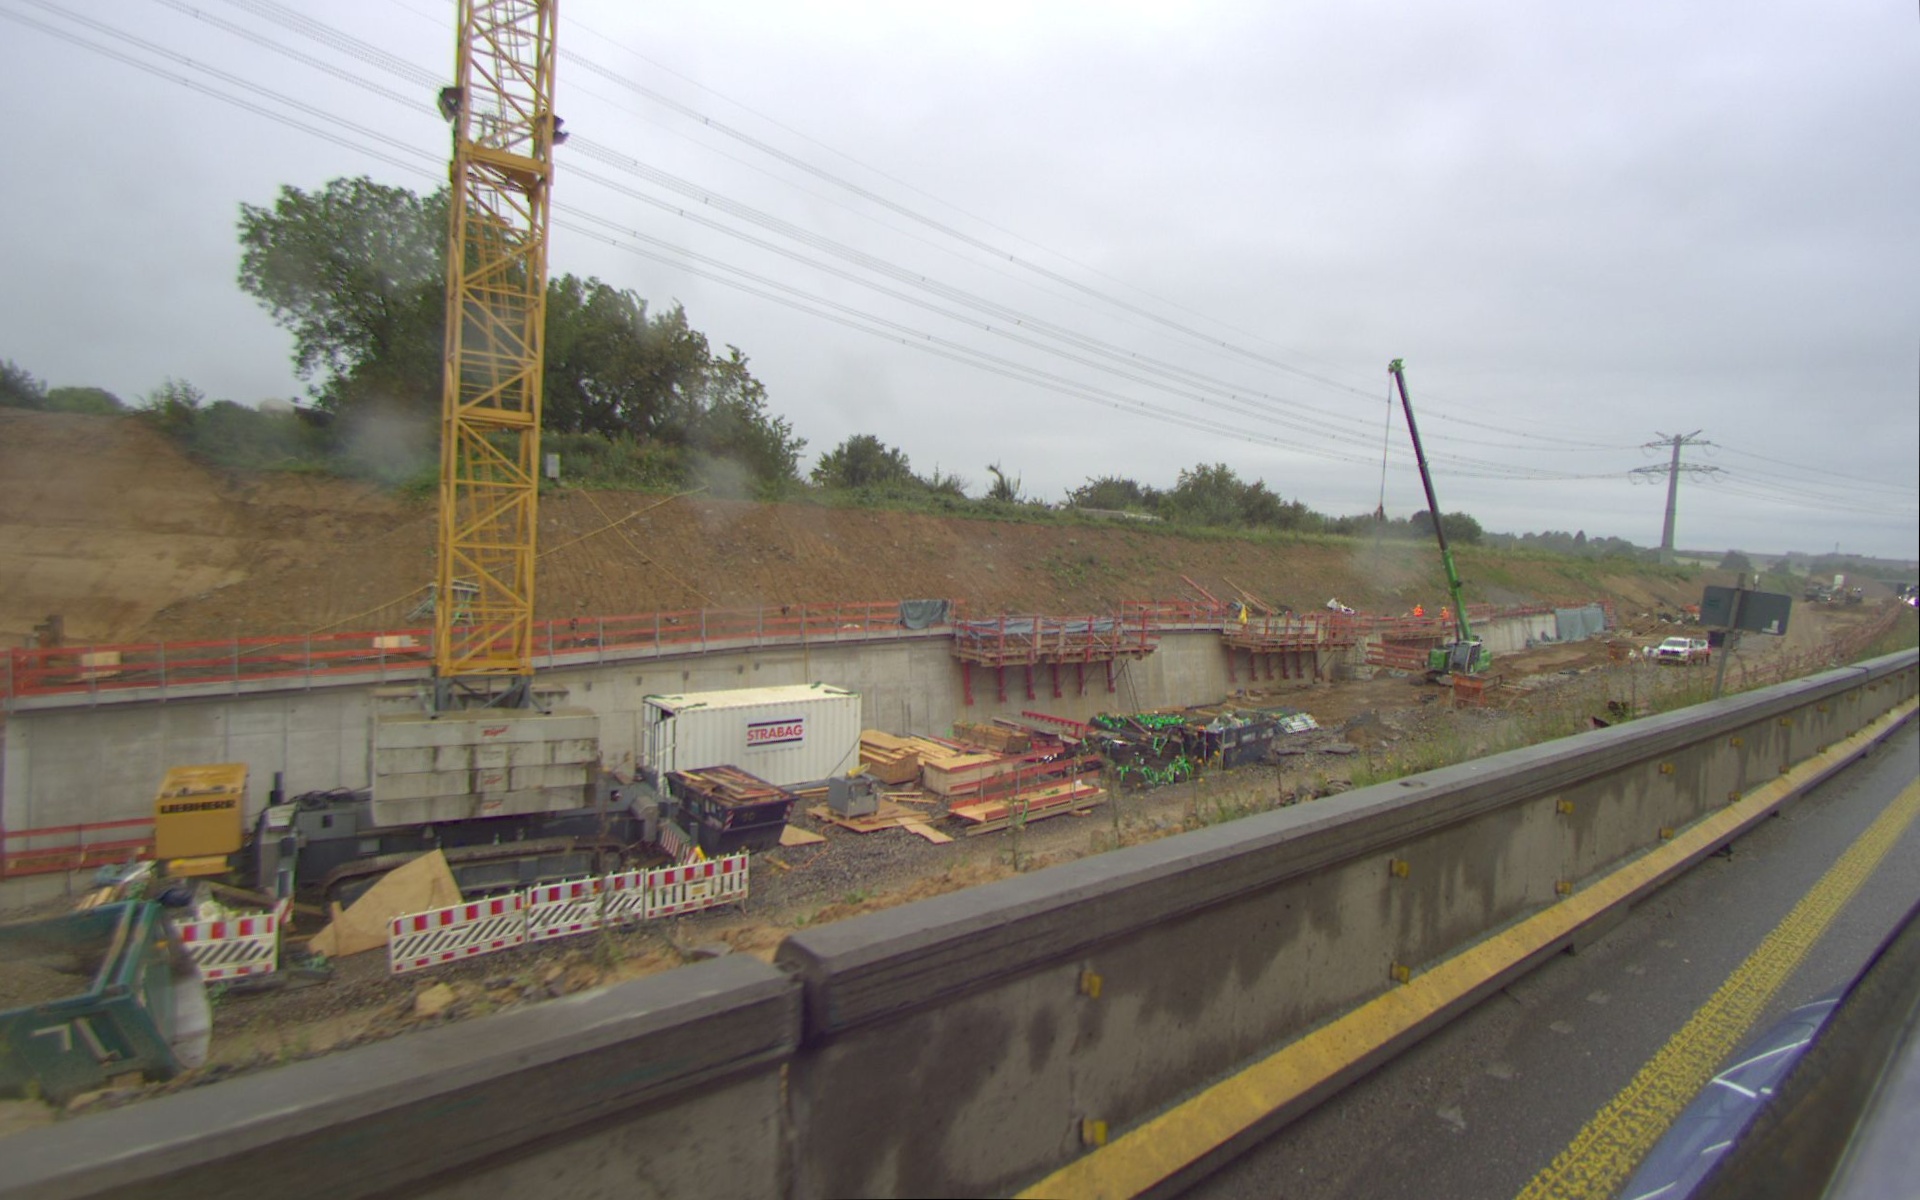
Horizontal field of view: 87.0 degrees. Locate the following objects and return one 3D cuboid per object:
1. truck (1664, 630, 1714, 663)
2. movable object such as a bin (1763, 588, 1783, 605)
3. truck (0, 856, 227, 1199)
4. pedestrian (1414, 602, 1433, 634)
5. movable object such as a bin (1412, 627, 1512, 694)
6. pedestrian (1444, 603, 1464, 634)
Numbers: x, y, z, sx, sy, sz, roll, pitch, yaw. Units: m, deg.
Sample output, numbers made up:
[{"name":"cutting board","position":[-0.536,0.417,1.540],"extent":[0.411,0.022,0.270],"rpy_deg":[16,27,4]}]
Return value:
[{"name":"truck","position":[50.877,3.220,70.577],"extent":[5.691,1.894,1.764],"rpy_deg":[-1,4,-44]},{"name":"movable object such as a bin","position":[131.941,-0.618,164.213],"extent":[2.245,2.753,3.939],"rpy_deg":[1,1,43]},{"name":"truck","position":[-12.597,5.184,9.739],"extent":[8.772,3.547,2.710],"rpy_deg":[-1,1,-32]},{"name":"pedestrian","position":[34.642,1.348,75.601],"extent":[0.914,2.275,0.991],"rpy_deg":[-5,-2,43]},{"name":"movable object such as a bin","position":[28.671,3.358,57.735],"extent":[4.781,2.836,3.795],"rpy_deg":[-8,7,-44]},{"name":"pedestrian","position":[36.559,1.363,74.896],"extent":[0.988,2.260,0.916],"rpy_deg":[-2,-2,-40]}]
